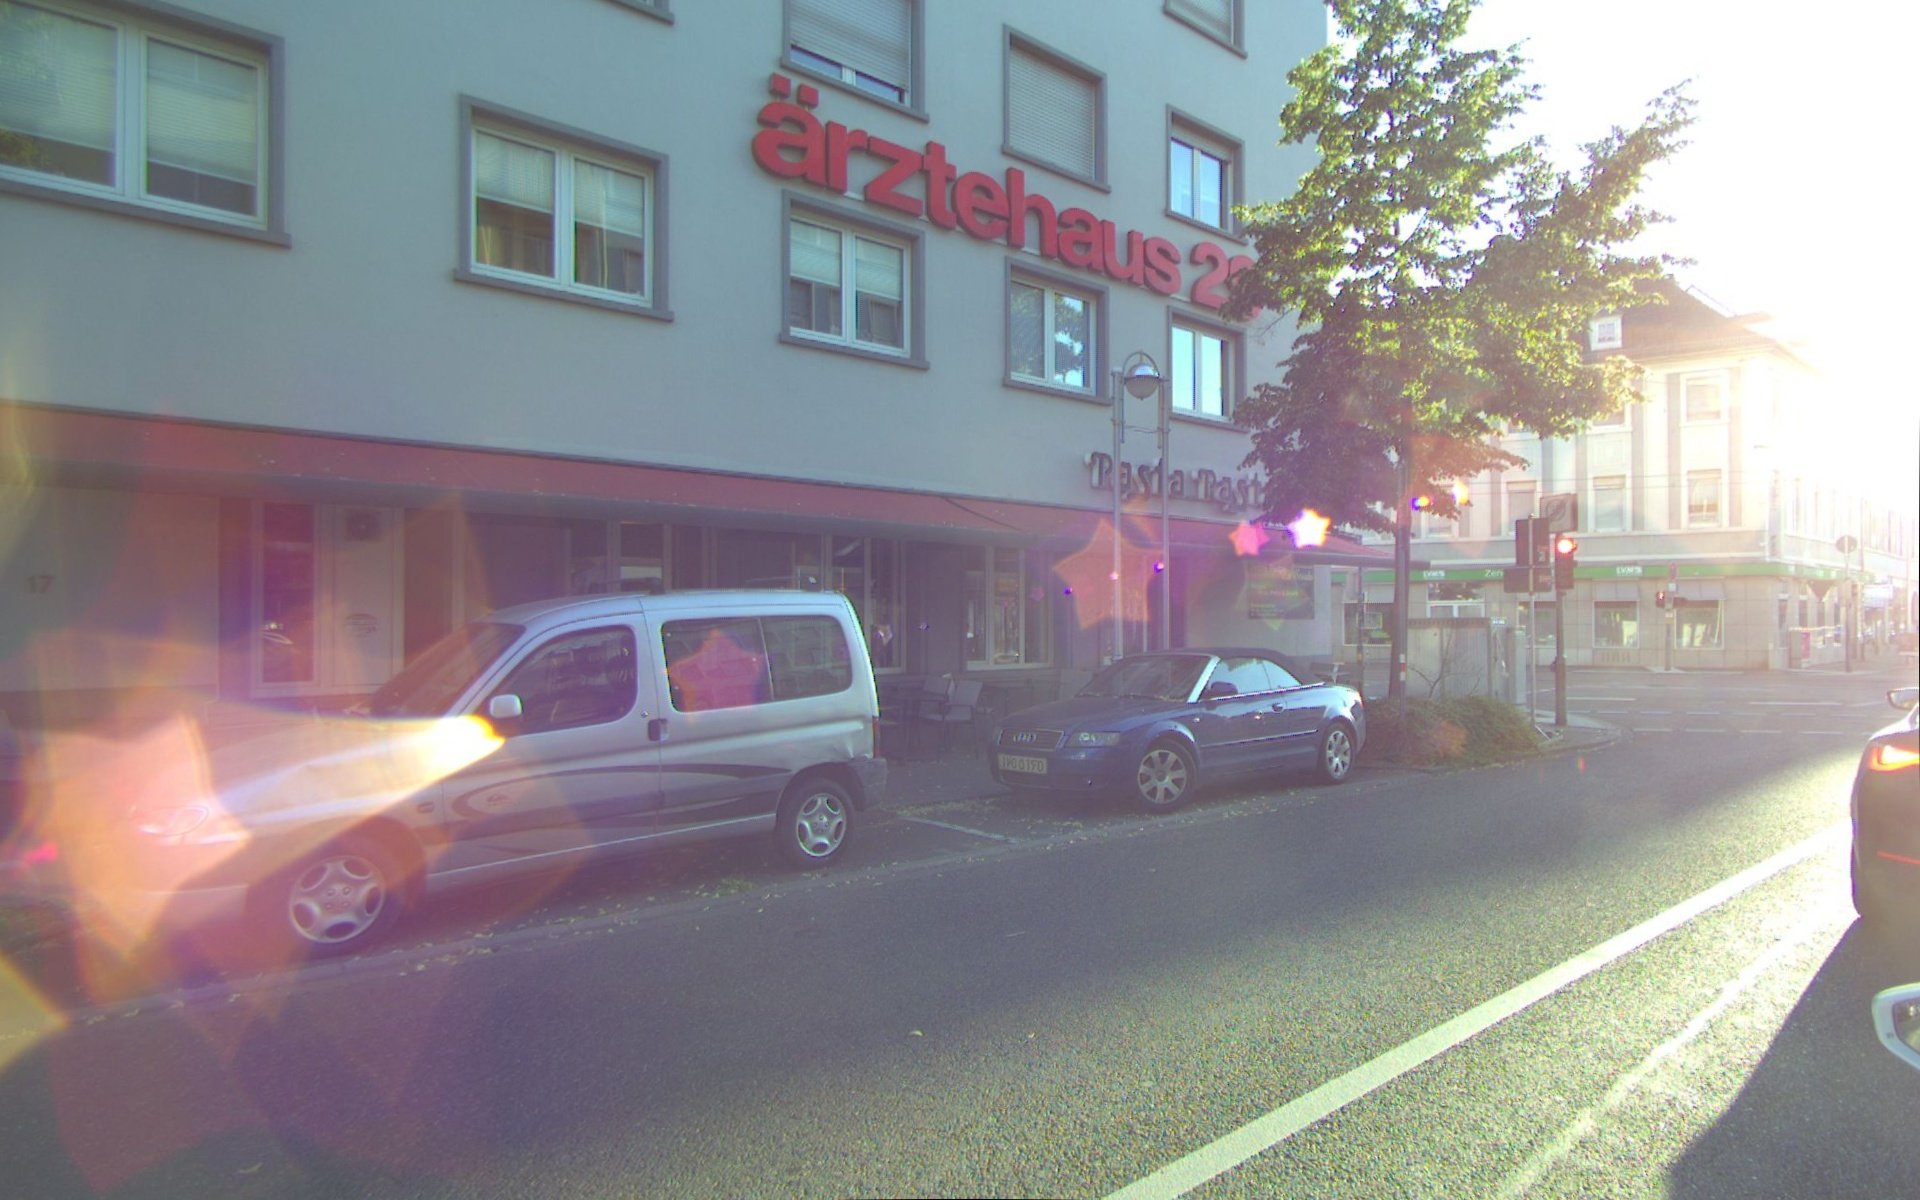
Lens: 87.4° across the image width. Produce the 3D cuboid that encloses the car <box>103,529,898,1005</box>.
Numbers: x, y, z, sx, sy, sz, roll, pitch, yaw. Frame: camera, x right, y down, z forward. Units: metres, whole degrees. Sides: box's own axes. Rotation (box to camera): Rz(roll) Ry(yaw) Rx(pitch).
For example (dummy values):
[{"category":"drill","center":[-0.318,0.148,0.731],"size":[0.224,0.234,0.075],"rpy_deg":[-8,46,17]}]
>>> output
[{"category":"car","center":[-2.466,0.756,6.021],"size":[4.022,1.912,1.655],"rpy_deg":[2,-4,-41]}]

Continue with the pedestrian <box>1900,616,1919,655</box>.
[{"category":"pedestrian","center":[47.052,1.737,49.614],"size":[0.605,1.901,0.679],"rpy_deg":[1,0,14]}]

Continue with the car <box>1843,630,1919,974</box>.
[{"category":"car","center":[6.068,0.896,5.112],"size":[4.188,1.447,1.723],"rpy_deg":[1,-1,-39]}]

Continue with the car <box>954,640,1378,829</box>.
[{"category":"car","center":[2.122,1.125,9.697],"size":[4.244,1.434,1.710],"rpy_deg":[2,-4,-39]}]

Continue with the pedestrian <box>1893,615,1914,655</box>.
[{"category":"pedestrian","center":[46.366,1.722,49.343],"size":[0.626,1.901,0.638],"rpy_deg":[1,0,-38]}]
